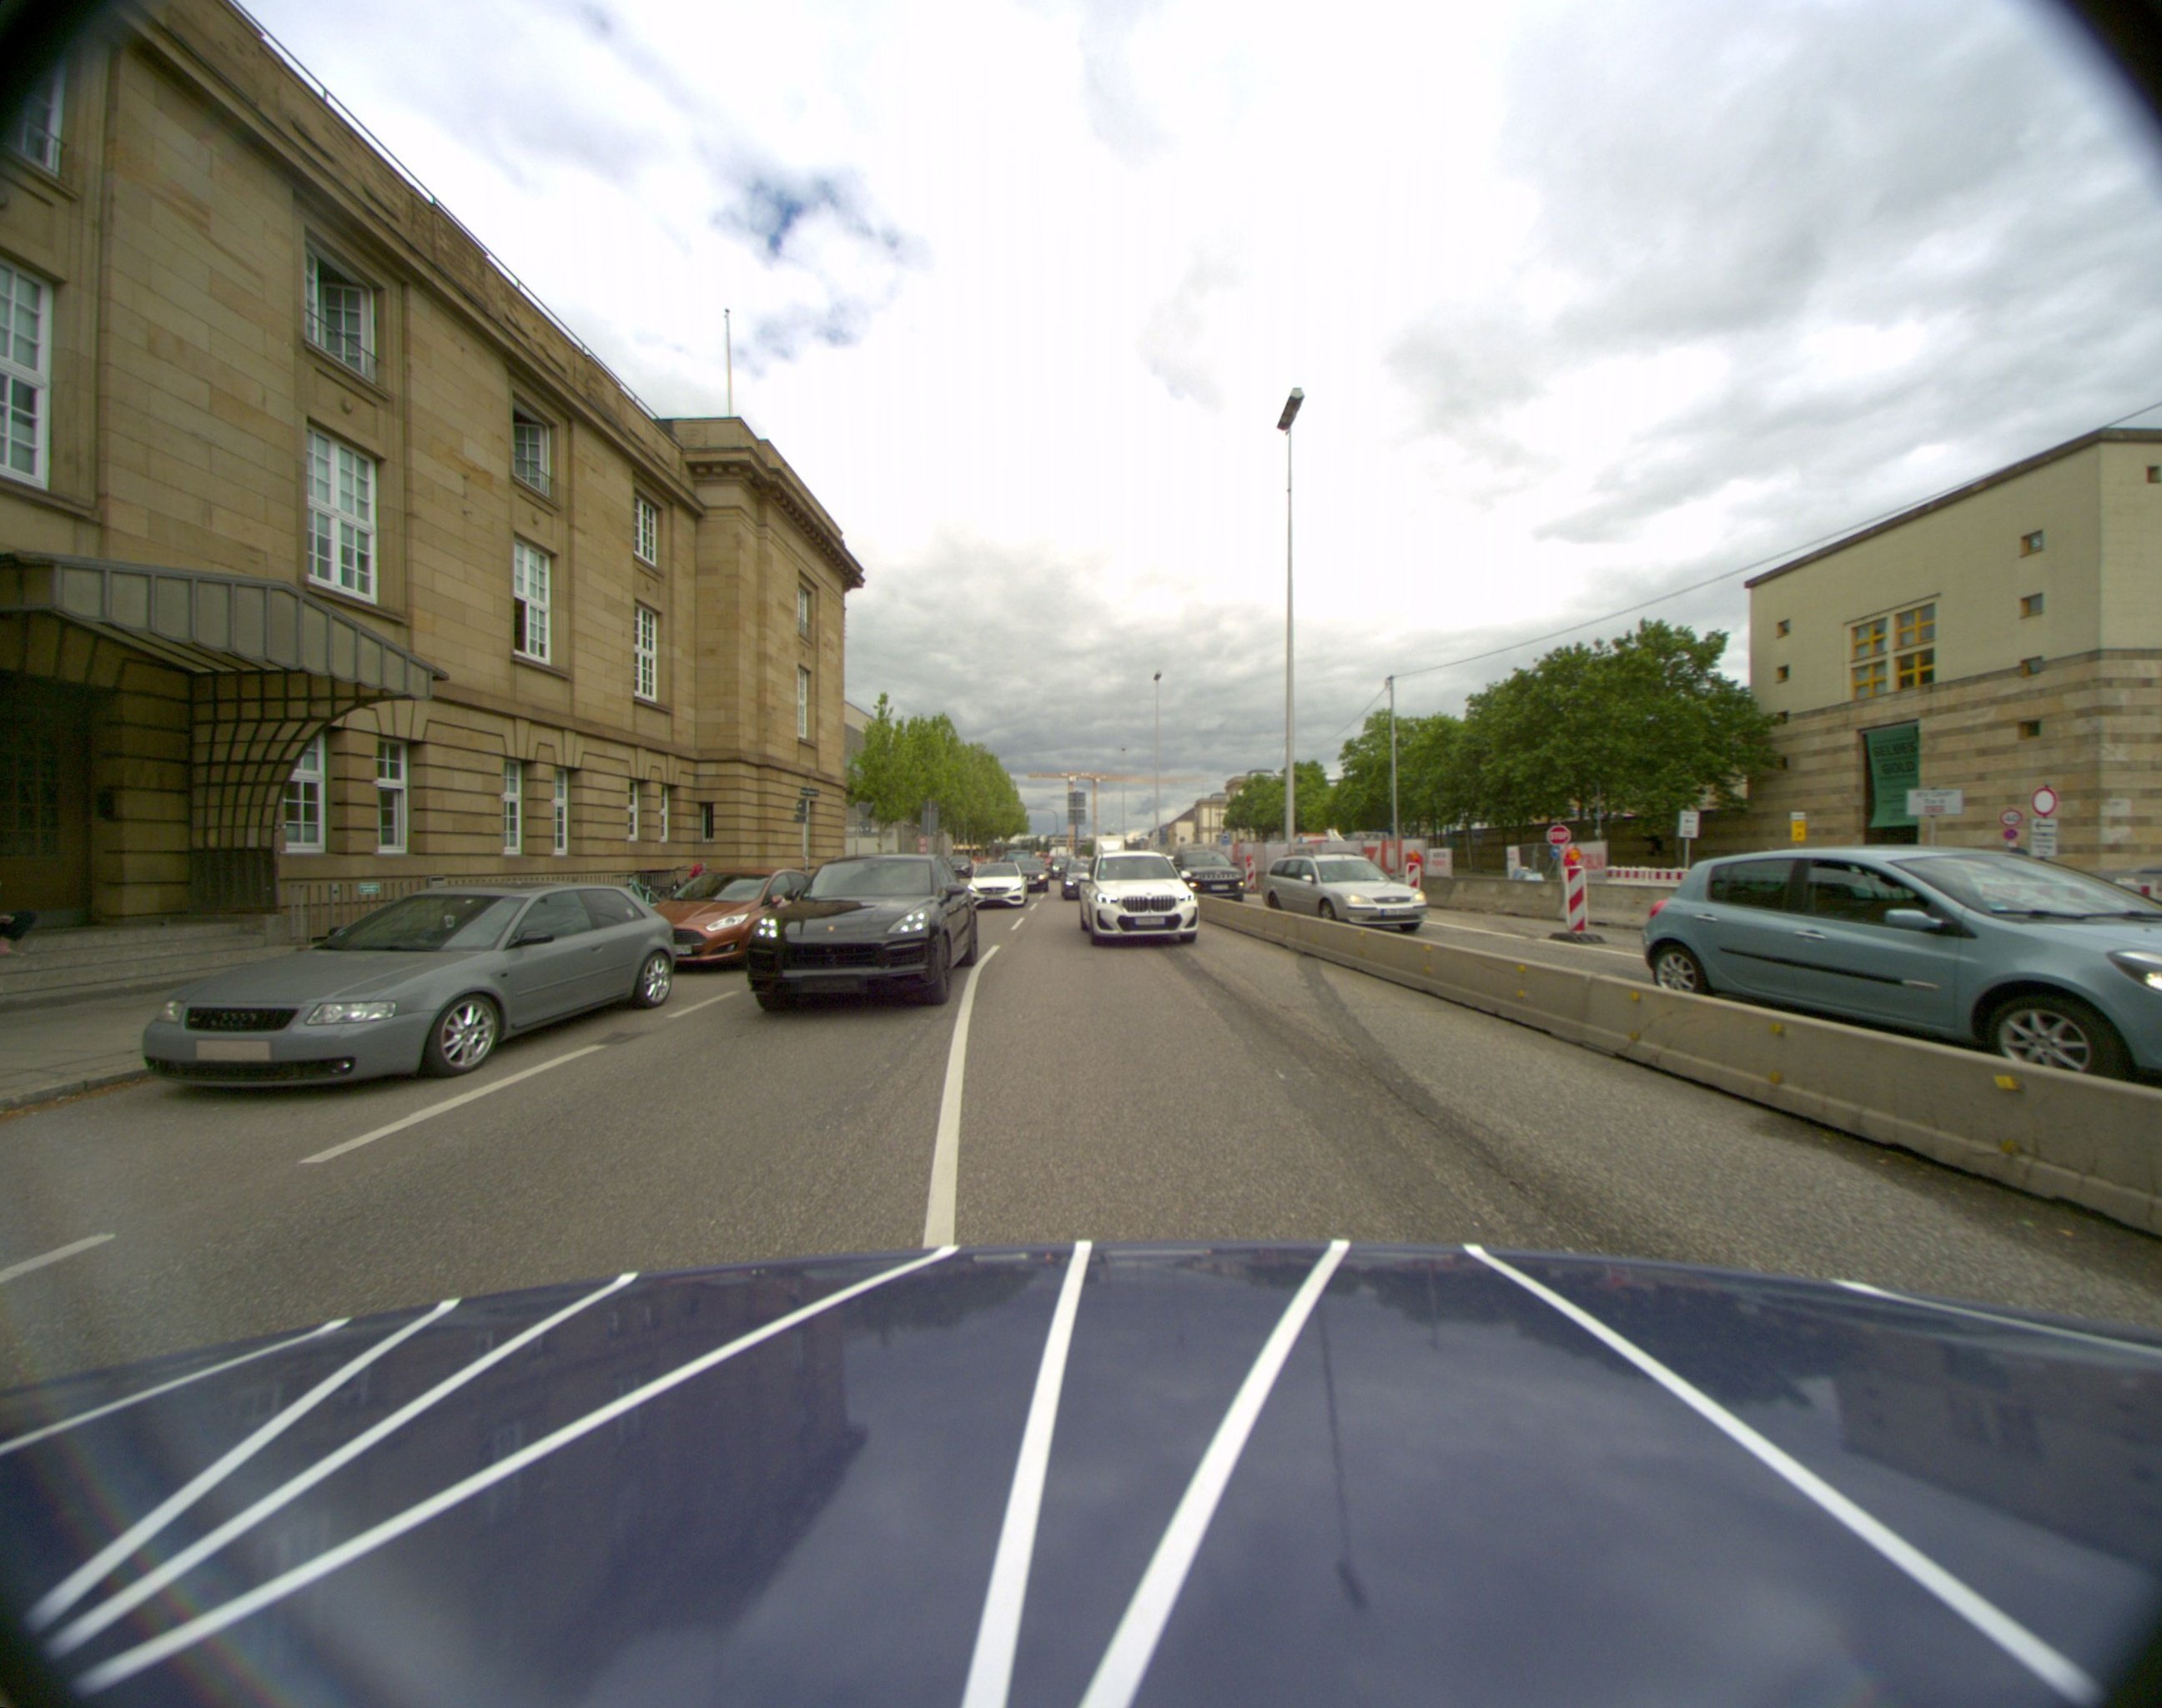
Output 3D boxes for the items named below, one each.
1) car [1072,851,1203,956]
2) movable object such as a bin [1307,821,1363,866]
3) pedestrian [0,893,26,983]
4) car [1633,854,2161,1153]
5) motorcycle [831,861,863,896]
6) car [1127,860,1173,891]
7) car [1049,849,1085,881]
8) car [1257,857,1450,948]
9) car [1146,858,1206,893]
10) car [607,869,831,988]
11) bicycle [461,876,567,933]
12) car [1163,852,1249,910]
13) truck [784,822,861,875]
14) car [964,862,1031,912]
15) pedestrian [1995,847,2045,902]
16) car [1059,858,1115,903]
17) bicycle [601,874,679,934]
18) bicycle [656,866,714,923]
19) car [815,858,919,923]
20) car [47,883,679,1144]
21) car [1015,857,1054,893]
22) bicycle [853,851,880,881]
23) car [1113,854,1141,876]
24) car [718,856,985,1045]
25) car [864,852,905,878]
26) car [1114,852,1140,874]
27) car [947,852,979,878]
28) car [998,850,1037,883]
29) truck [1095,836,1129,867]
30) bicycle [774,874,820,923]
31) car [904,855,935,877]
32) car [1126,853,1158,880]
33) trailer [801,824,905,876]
[{"bbox_3d":[0.882,0.786,14.671,1.856,1.618,4.904,-2,1,-3],"label":"car"},{"bbox_3d":[12.753,-0.519,38.334,1.526,2.172,3.292,-1,0,-3],"label":"movable object such as a bin"},{"bbox_3d":[-10.729,0.831,7.364,0.430,0.868,0.373,-2,1,2],"label":"pedestrian"},{"bbox_3d":[6.357,0.781,5.568,1.677,1.498,3.853,-2,0,-3],"label":"car"},{"bbox_3d":[-8.901,0.917,28.976,0.456,1.235,1.923,1,0,5],"label":"motorcycle"},{"bbox_3d":[3.558,1.103,39.987,1.859,1.407,4.564,-2,0,-1],"label":"car"},{"bbox_3d":[-0.976,0.715,50.498,1.999,2.002,3.998,-2,0,-5],"label":"car"},{"bbox_3d":[5.240,0.839,15.429,1.884,1.472,4.702,-2,0,-5],"label":"car"},{"bbox_3d":[3.870,0.847,31.493,1.731,1.288,3.933,-2,1,-3],"label":"car"},{"bbox_3d":[-5.384,1.014,11.900,1.619,1.446,3.858,1,0,1],"label":"car"},{"bbox_3d":[-9.850,0.855,13.289,0.307,0.839,1.878,-2,1,3],"label":"bicycle"},{"bbox_3d":[3.830,0.762,23.983,1.781,1.611,4.044,-2,1,-3],"label":"car"},{"bbox_3d":[-20.937,-0.468,61.918,3.138,4.061,6.576,-1,1,8],"label":"truck"},{"bbox_3d":[-2.636,1.014,24.834,1.935,1.368,3.998,-2,0,-3],"label":"car"},{"bbox_3d":[35.731,0.770,28.933,0.847,2.002,0.815,-3,1,2],"label":"pedestrian"},{"bbox_3d":[0.147,0.917,28.083,1.803,1.429,4.019,-2,0,-3],"label":"car"},{"bbox_3d":[-9.762,1.076,16.895,0.557,1.210,1.916,-1,0,1],"label":"bicycle"},{"bbox_3d":[-9.656,0.955,18.585,0.413,1.280,1.790,-1,0,1],"label":"bicycle"},{"bbox_3d":[-5.564,0.888,20.211,1.549,1.543,3.709,0,0,3],"label":"car"},{"bbox_3d":[-5.442,1.053,6.644,1.713,1.418,3.996,0,0,0],"label":"car"},{"bbox_3d":[-2.114,0.899,33.901,1.613,1.464,3.620,-1,0,-5],"label":"car"},{"bbox_3d":[-9.226,0.503,32.681,0.610,1.217,1.962,2,0,-2],"label":"bicycle"},{"bbox_3d":[3.224,0.741,54.180,1.652,1.430,3.934,-2,0,-1],"label":"car"},{"bbox_3d":[-2.389,0.930,9.138,1.908,1.647,4.201,-3,-1,-1],"label":"car"},{"bbox_3d":[-14.383,0.762,55.900,1.810,1.773,4.620,-4,0,-1],"label":"car"},{"bbox_3d":[3.779,0.738,63.388,1.842,1.751,4.479,0,0,-1],"label":"car"},{"bbox_3d":[-8.475,0.780,54.741,1.810,1.728,4.484,-2,0,-4],"label":"car"},{"bbox_3d":[-3.929,0.741,47.560,1.952,1.914,4.399,-1,0,2],"label":"car"},{"bbox_3d":[2.858,-0.210,71.542,2.978,2.757,7.255,0,0,1],"label":"truck"},{"bbox_3d":[-7.281,1.113,19.537,0.461,1.150,1.831,-1,0,0],"label":"bicycle"},{"bbox_3d":[-11.750,0.844,55.471,1.584,1.521,3.503,-2,0,-1],"label":"car"},{"bbox_3d":[3.785,0.754,47.538,1.634,1.546,3.001,-2,0,-1],"label":"car"},{"bbox_3d":[-19.953,-0.413,68.078,3.154,4.077,13.979,-3,1,8],"label":"trailer"}]
